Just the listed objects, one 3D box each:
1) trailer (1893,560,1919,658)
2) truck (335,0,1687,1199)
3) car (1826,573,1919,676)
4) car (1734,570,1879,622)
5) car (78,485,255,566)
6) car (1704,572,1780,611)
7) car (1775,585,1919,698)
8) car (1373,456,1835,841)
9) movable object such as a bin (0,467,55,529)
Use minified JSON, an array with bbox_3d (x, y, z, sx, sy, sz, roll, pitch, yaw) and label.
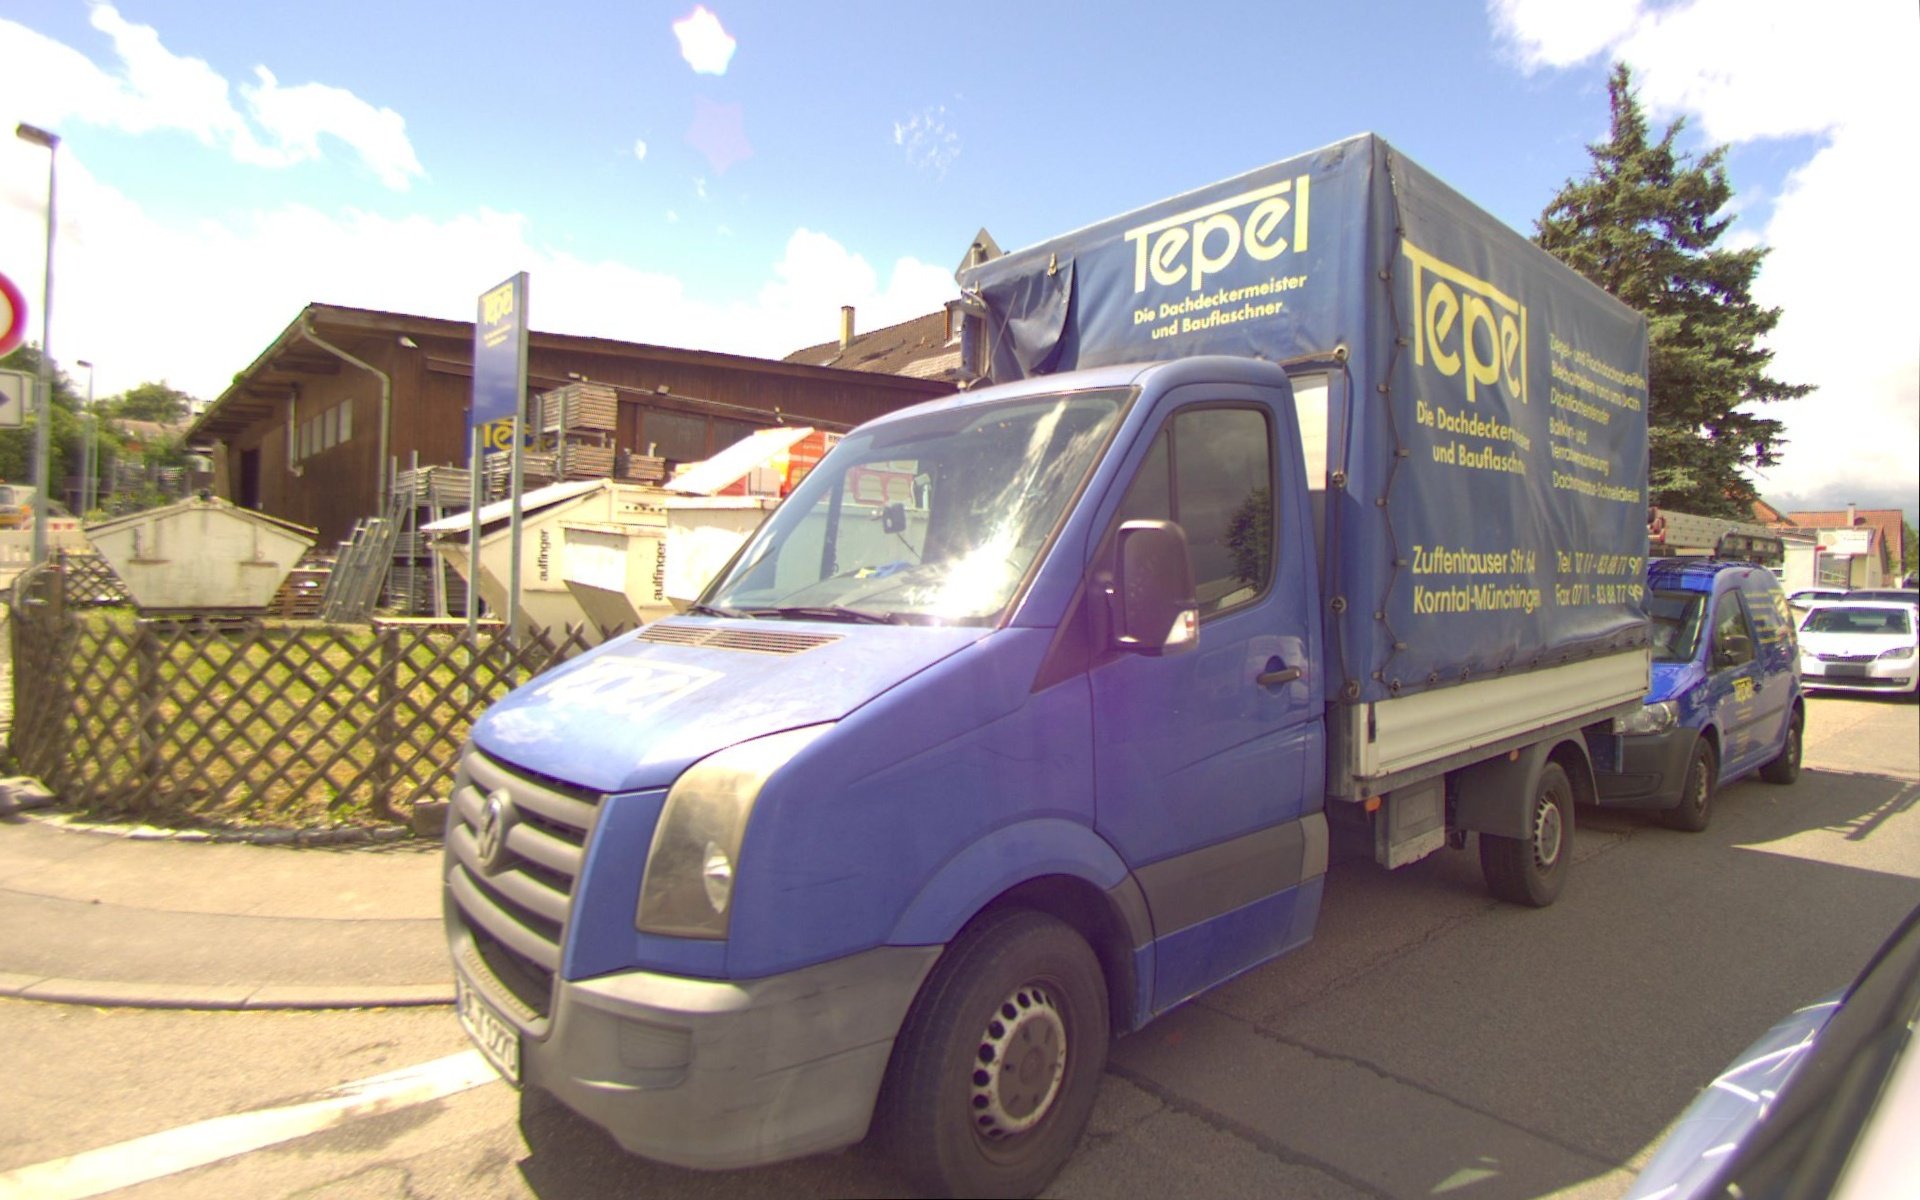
[{"bbox_3d":[23.043,0.228,23.354,4.042,2.171,1.776,0,2,-42],"label":"trailer"},{"bbox_3d":[0.935,-0.180,4.411,5.936,3.136,2.324,0,0,-41],"label":"truck"},{"bbox_3d":[18.176,0.432,19.372,4.633,1.748,1.876,0,2,-43],"label":"car"},{"bbox_3d":[34.316,-0.195,41.119,1.834,1.673,4.203,1,5,-41],"label":"car"},{"bbox_3d":[-23.059,-2.082,29.499,3.930,2.039,1.906,0,-1,-41],"label":"car"},{"bbox_3d":[36.643,-0.391,47.396,3.593,1.537,1.639,3,3,-34],"label":"car"},{"bbox_3d":[14.491,0.589,16.038,3.930,1.526,1.777,0,2,-41],"label":"car"},{"bbox_3d":[5.212,0.280,7.934,4.385,2.196,1.877,0,0,-41],"label":"car"},{"bbox_3d":[-49.995,-5.226,50.893,6.579,2.797,3.936,0,-1,-41],"label":"movable object such as a bin"}]
